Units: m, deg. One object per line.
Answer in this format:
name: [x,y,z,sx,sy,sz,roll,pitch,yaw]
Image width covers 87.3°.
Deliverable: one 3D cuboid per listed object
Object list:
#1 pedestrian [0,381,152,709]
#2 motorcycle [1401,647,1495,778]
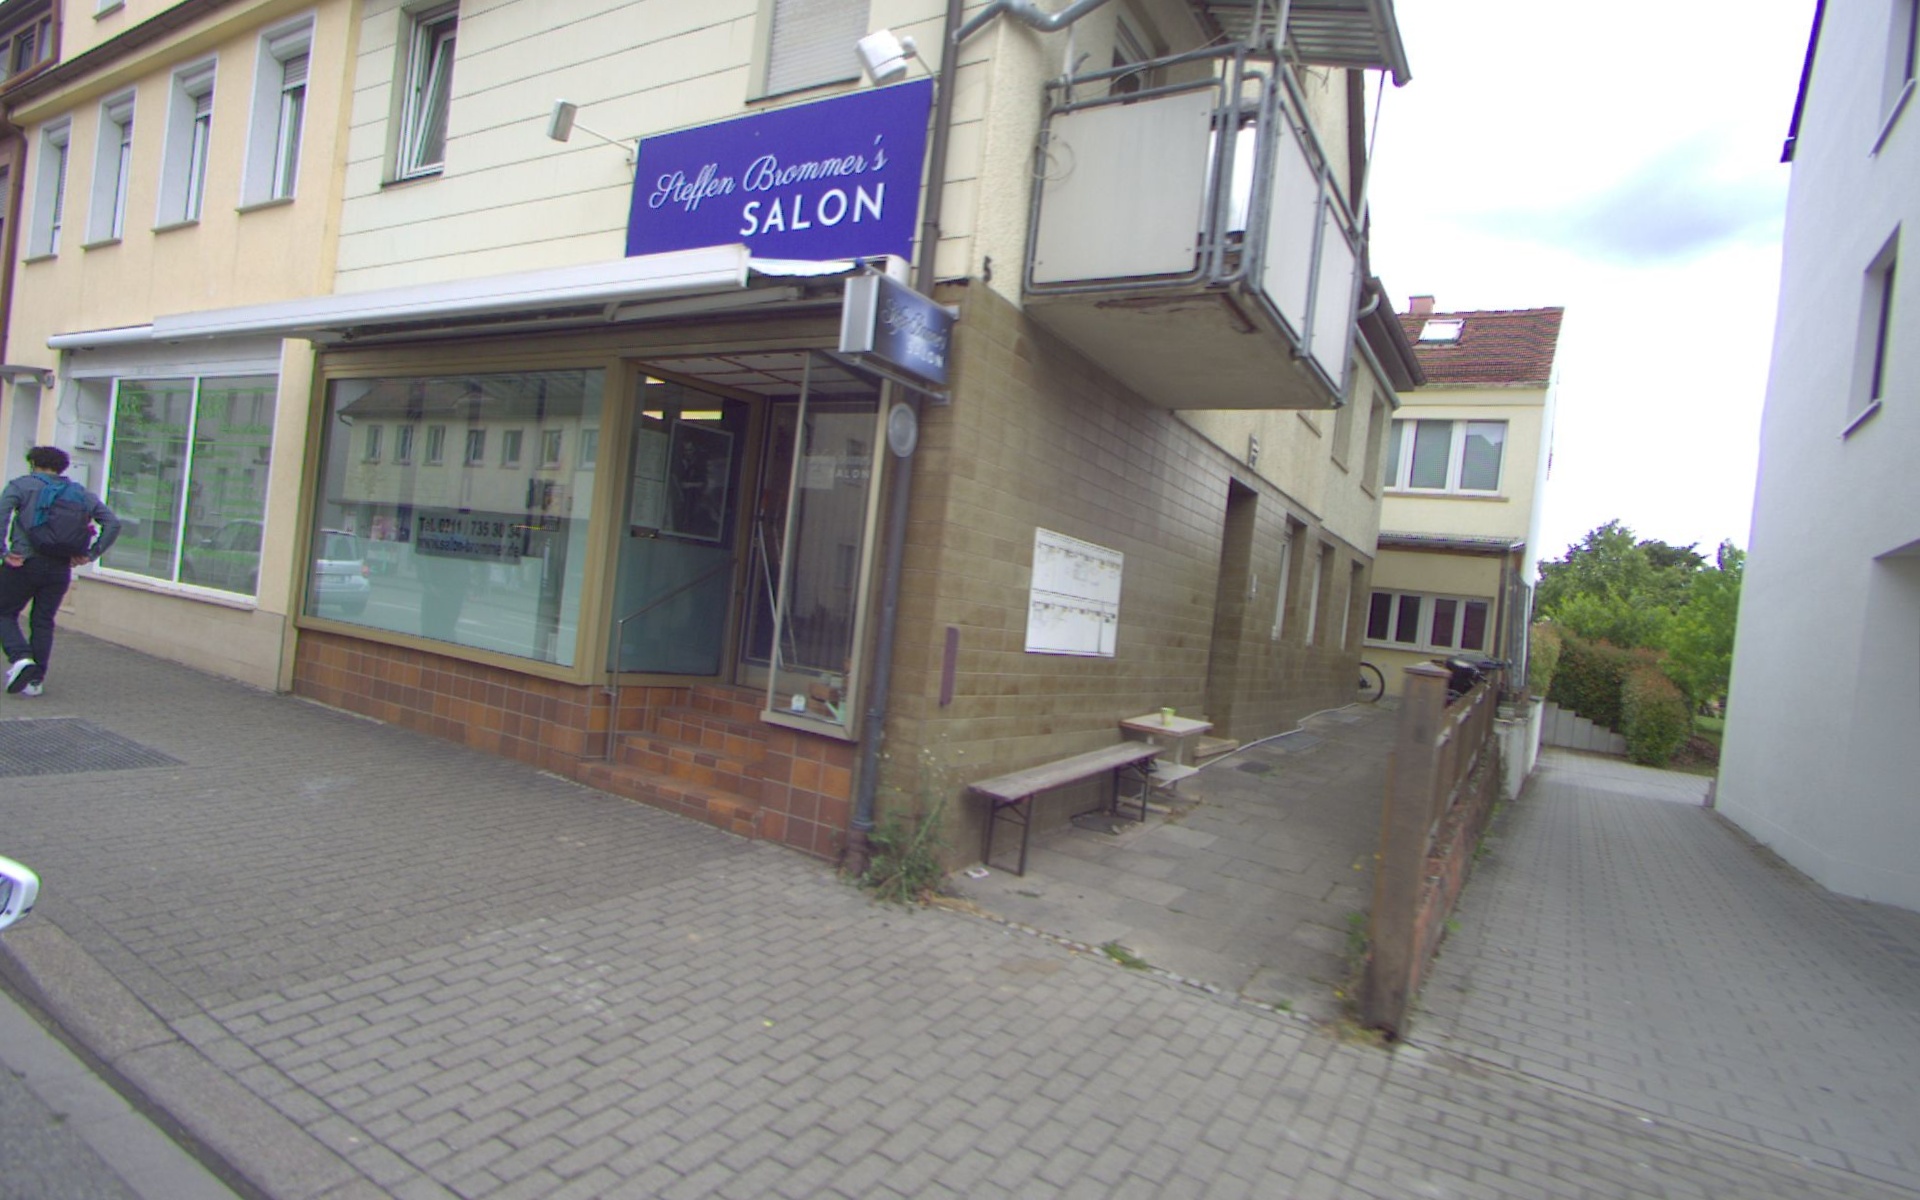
pedestrian: [-6.360,-0.377,7.015,0.995,2.103,0.823,7,4,34]
motorcycle: [5.081,1.114,10.387,0.527,1.148,2.335,7,1,32]
